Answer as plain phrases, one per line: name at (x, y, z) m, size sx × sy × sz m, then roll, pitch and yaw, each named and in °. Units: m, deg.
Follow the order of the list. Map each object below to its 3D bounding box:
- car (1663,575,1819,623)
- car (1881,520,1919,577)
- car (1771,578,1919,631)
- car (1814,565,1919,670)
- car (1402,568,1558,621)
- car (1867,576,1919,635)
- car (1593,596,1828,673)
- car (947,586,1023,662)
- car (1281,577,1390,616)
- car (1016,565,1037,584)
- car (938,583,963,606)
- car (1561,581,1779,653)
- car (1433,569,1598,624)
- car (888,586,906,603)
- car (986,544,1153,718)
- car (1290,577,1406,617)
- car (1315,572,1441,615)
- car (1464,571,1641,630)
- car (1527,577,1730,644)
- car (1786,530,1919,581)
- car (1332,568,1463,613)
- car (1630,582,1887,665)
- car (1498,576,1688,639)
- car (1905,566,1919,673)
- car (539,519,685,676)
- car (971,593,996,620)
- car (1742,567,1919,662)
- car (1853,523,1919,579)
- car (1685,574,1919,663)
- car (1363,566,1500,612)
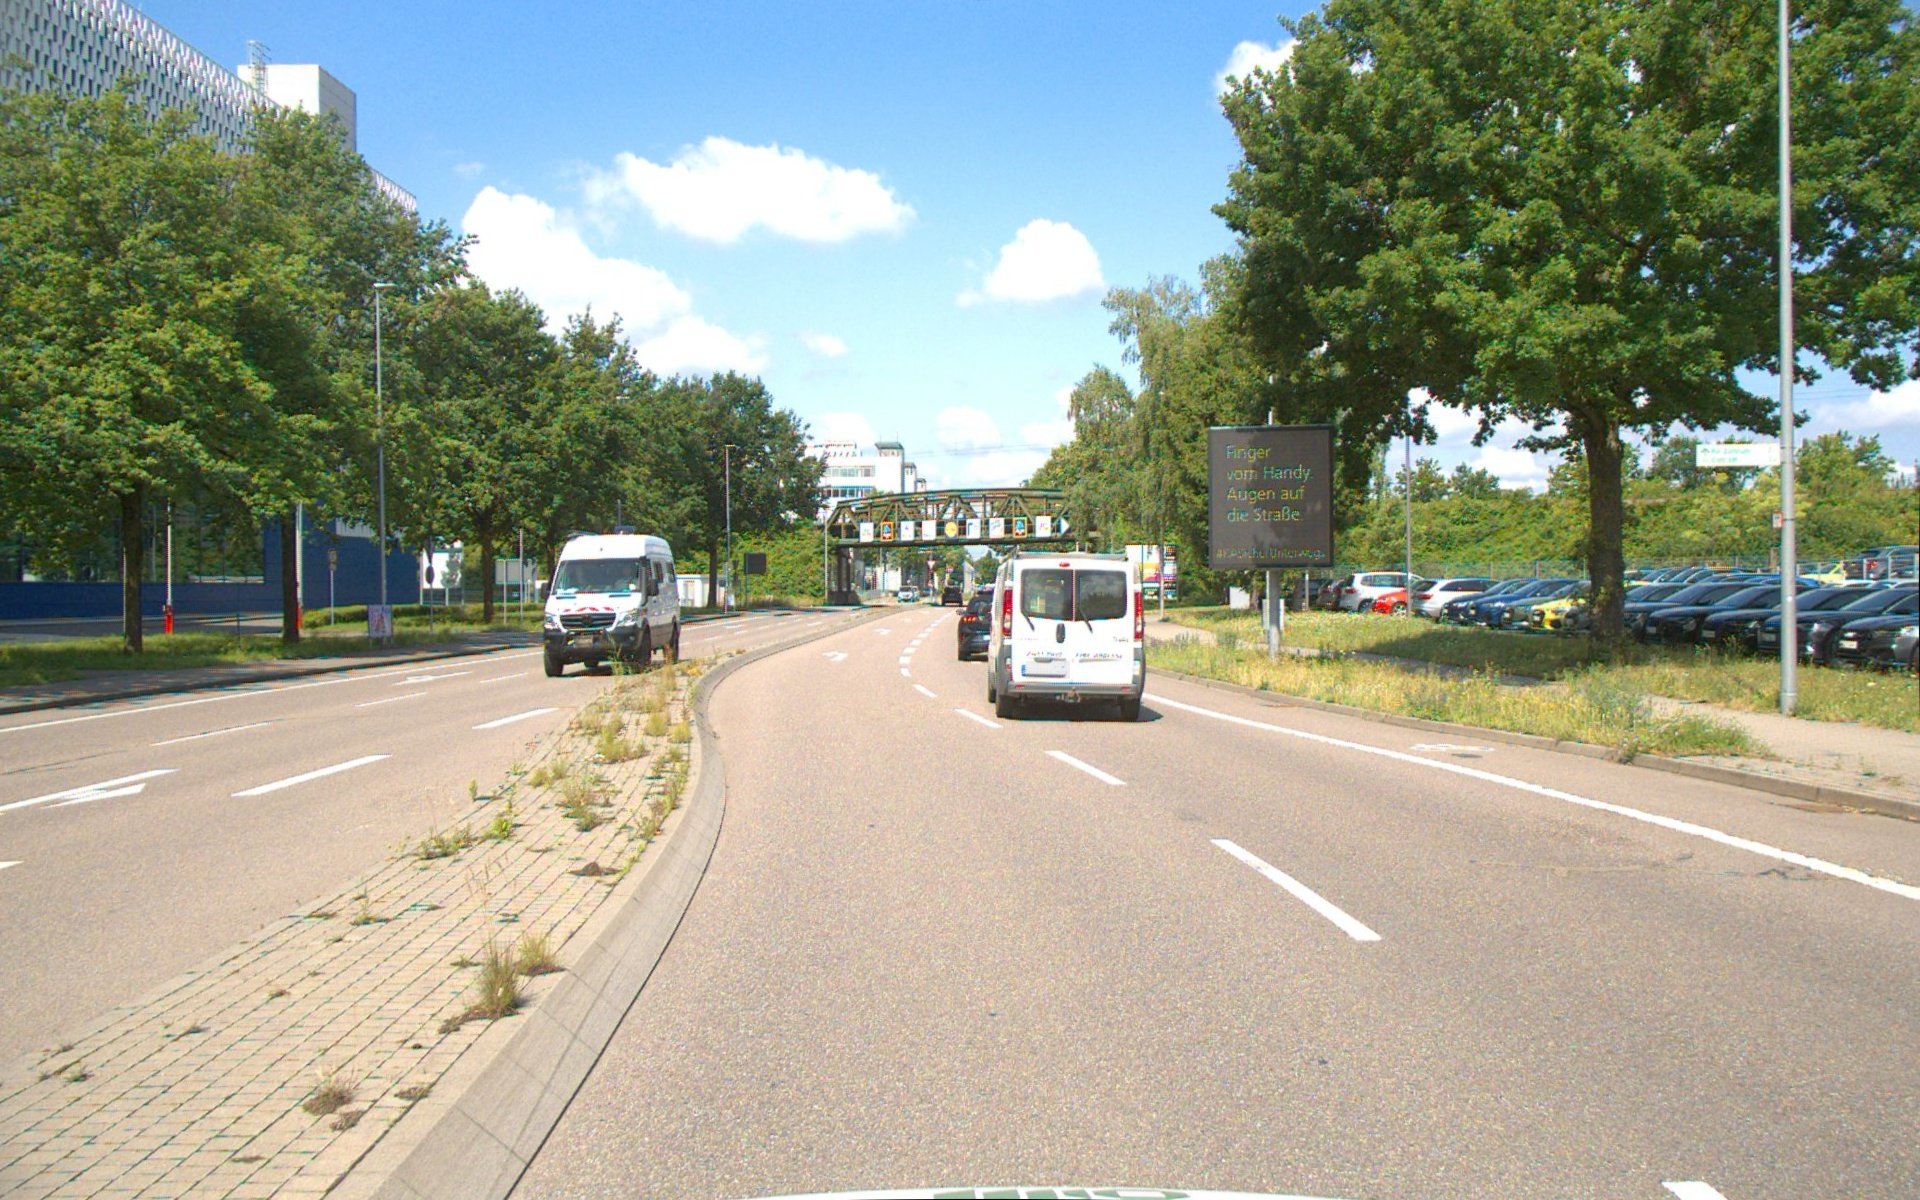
car at (25.837, -0.031, 54.808) m, size 4.257 × 1.525 × 1.907 m, roll 0°, pitch 0°, yaw 1°
car at (31.958, -1.620, 52.564) m, size 4.263 × 1.805 × 1.937 m, roll 1°, pitch 2°, yaw 4°
car at (27.066, 0.126, 49.898) m, size 4.257 × 1.525 × 1.907 m, roll 0°, pitch 0°, yaw 1°
car at (15.963, 0.260, 25.815) m, size 4.266 × 1.539 × 1.936 m, roll 1°, pitch 2°, yaw -1°
car at (16.301, -0.187, 52.011) m, size 4.266 × 1.539 × 1.936 m, roll 1°, pitch 2°, yaw -1°
car at (26.988, 0.129, 44.388) m, size 4.257 × 1.525 × 1.907 m, roll 0°, pitch 0°, yaw 1°
car at (16.444, 0.728, 36.384) m, size 4.266 × 1.539 × 1.936 m, roll 1°, pitch 2°, yaw -1°
car at (0.556, 0.539, 39.960) m, size 1.738 × 1.657 × 4.000 m, roll 0°, pitch 2°, yaw -1°
car at (16.103, -0.157, 71.068) m, size 4.266 × 1.539 × 1.936 m, roll 1°, pitch 2°, yaw -1°
car at (8.810, -3.344, 218.504) m, size 2.328 × 2.518 × 4.765 m, roll 0°, pitch 0°, yaw 6°
car at (-0.783, -0.501, 142.868) m, size 1.952 × 1.802 × 4.002 m, roll 1°, pitch 2°, yaw 2°
car at (16.620, 0.381, 38.862) m, size 4.266 × 1.539 × 1.936 m, roll 1°, pitch 2°, yaw -1°
car at (16.546, -0.128, 49.397) m, size 4.266 × 1.539 × 1.936 m, roll 1°, pitch 2°, yaw -1°
car at (-7.814, -0.684, 205.669) m, size 1.952 × 2.049 × 4.002 m, roll 0°, pitch 0°, yaw 3°
car at (1.356, 0.311, 22.225) m, size 1.932 × 2.095 × 4.565 m, roll 0°, pitch 2°, yaw 0°
car at (15.744, -0.127, 67.246) m, size 4.266 × 1.539 × 1.936 m, roll 1°, pitch 2°, yaw -1°
car at (15.884, -0.272, 62.990) m, size 4.266 × 1.539 × 1.936 m, roll 1°, pitch 2°, yaw -1°
car at (16.582, -0.015, 46.466) m, size 4.266 × 1.539 × 1.936 m, roll 1°, pitch 2°, yaw -1°
car at (16.647, 0.248, 41.325) m, size 4.266 × 1.539 × 1.936 m, roll 1°, pitch 2°, yaw -1°
car at (32.932, -1.637, 60.670) m, size 4.263 × 1.805 × 1.937 m, roll 1°, pitch 2°, yaw 4°
car at (15.927, -0.375, 60.407) m, size 4.266 × 1.539 × 1.936 m, roll 1°, pitch 2°, yaw -1°
car at (16.156, 0.456, 33.615) m, size 4.266 × 1.539 × 1.936 m, roll 1°, pitch 2°, yaw -1°
car at (16.674, 0.190, 43.729) m, size 4.266 × 1.539 × 1.936 m, roll 1°, pitch 2°, yaw -1°
car at (16.000, 0.329, 23.284) m, size 4.266 × 1.539 × 1.936 m, roll 1°, pitch 2°, yaw -1°
car at (-7.081, -0.074, 34.332) m, size 1.983 × 2.944 × 6.378 m, roll 0°, pitch 0°, yaw -3°
car at (1.867, 0.509, 132.337) m, size 1.952 × 2.049 × 4.001 m, roll 0°, pitch 0°, yaw 1°
car at (16.110, 0.234, 28.587) m, size 4.266 × 1.539 × 1.936 m, roll 1°, pitch 2°, yaw -1°
car at (32.239, -1.620, 54.733) m, size 4.263 × 1.805 × 1.937 m, roll 1°, pitch 2°, yaw 4°
car at (16.096, 0.319, 30.881) m, size 4.266 × 1.539 × 1.936 m, roll 1°, pitch 2°, yaw -1°
car at (16.480, -0.397, 57.947) m, size 4.266 × 1.539 × 1.936 m, roll 1°, pitch 2°, yaw -1°
